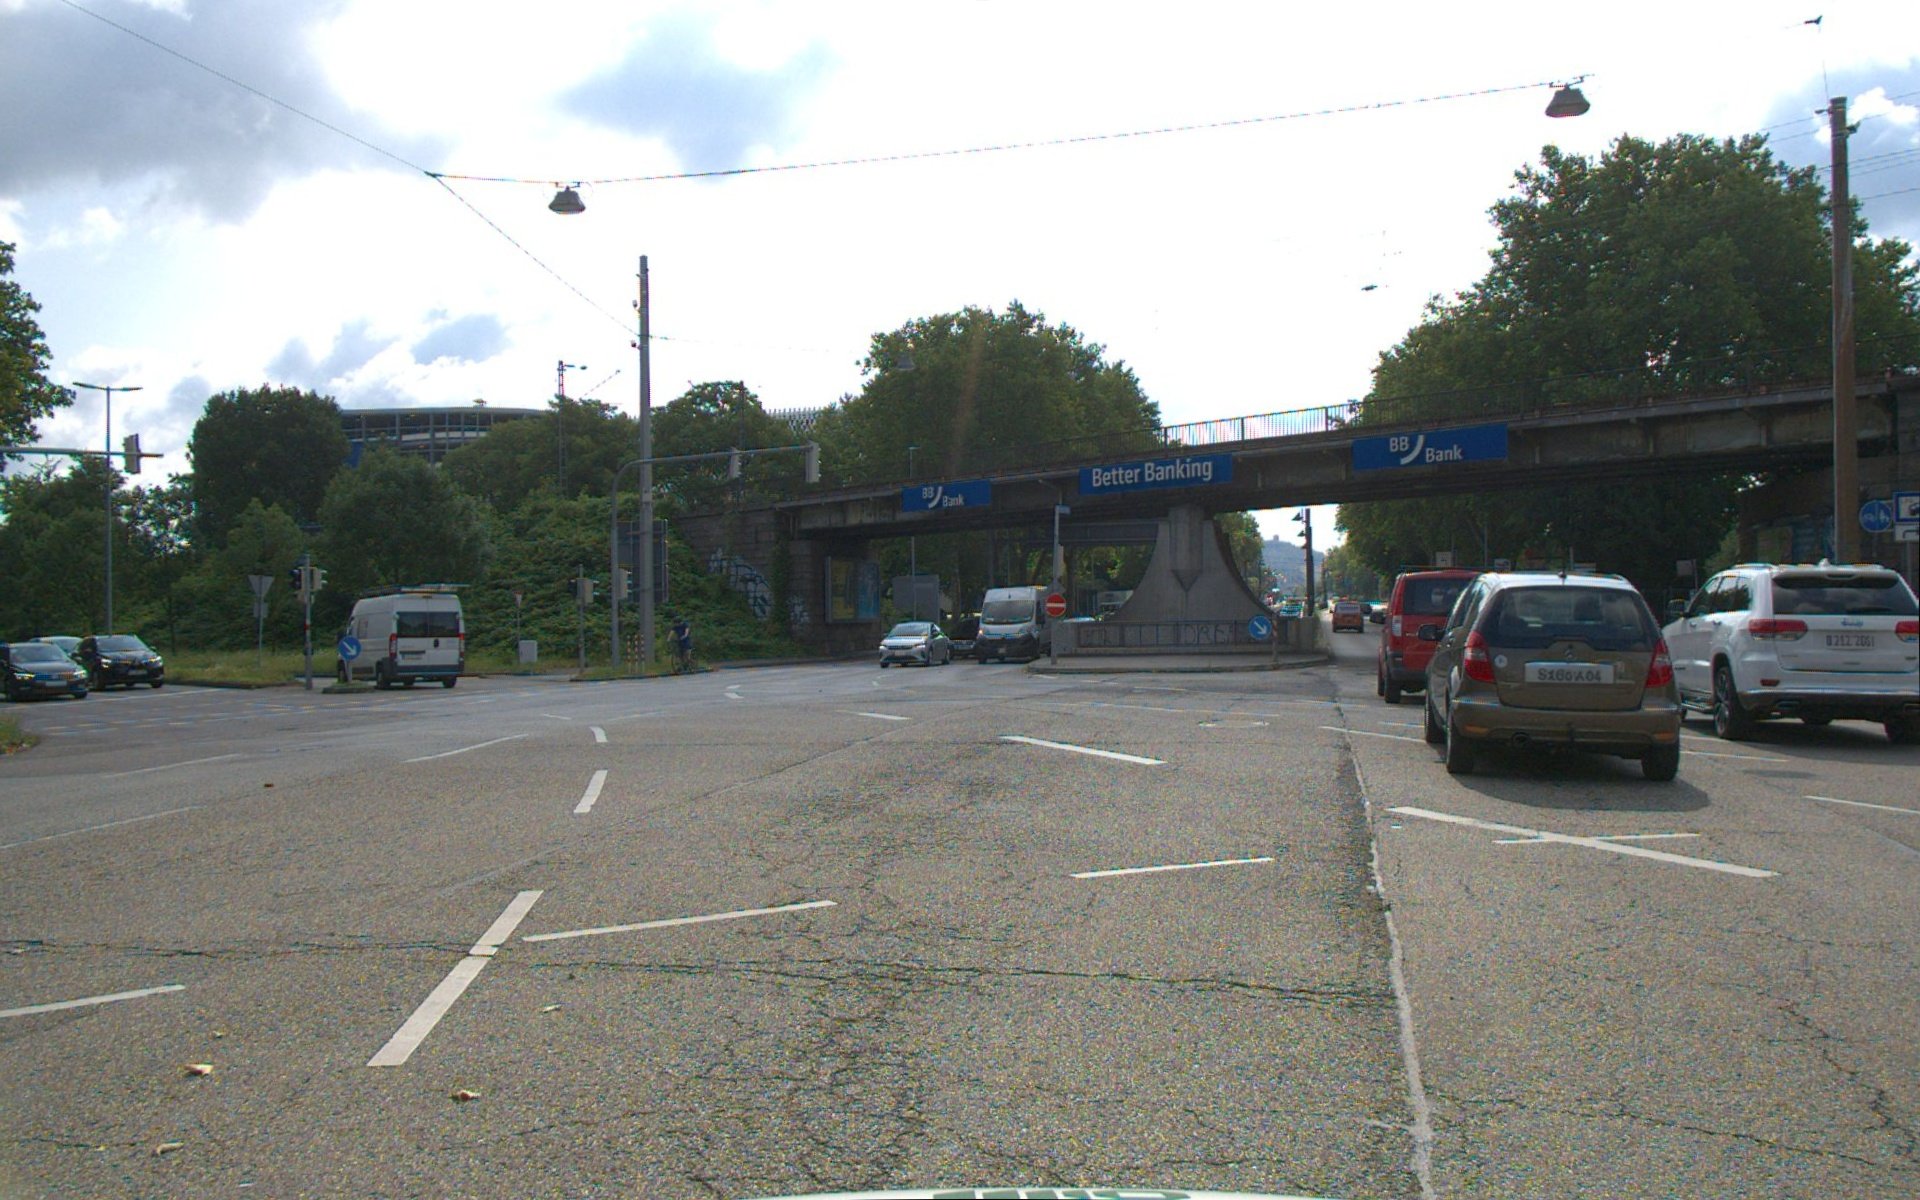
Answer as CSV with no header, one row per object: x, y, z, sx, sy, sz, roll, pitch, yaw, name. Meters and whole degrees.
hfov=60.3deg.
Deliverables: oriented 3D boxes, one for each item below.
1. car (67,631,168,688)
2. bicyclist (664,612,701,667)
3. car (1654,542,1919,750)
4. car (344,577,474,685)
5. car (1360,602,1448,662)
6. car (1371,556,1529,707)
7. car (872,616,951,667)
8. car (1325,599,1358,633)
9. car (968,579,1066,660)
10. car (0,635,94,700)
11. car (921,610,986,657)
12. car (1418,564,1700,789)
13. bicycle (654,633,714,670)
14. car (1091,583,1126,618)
-24.919,1.735,48.869,1.698,1.615,4.296,1,-2,-41,car
-8.606,1.221,51.355,0.825,1.708,0.824,-1,-1,20,bicyclist
8.909,0.424,17.665,1.952,1.934,4.512,0,0,12,car
-15.091,0.862,45.164,2.178,2.774,4.872,1,-2,-34,car
12.133,0.875,45.065,1.814,1.548,3.615,-1,-2,23,car
7.338,0.428,25.165,1.914,2.052,4.680,1,0,12,car
-1.551,1.354,54.661,1.666,1.502,4.003,-5,-2,11,car
23.981,1.009,104.020,1.914,2.052,4.680,1,0,12,car
2.008,0.660,56.175,2.210,2.570,5.631,-2,-1,13,car
-24.469,1.744,43.711,1.854,1.602,4.500,1,-2,-40,car
-0.197,1.266,63.787,1.728,1.610,4.667,-5,-1,8,car
4.933,0.550,14.101,1.753,1.636,3.802,-1,0,12,car
-8.572,1.591,51.404,0.825,1.113,2.319,-1,-1,19,bicycle
11.878,0.041,131.857,2.197,2.623,5.630,-2,-1,10,car
